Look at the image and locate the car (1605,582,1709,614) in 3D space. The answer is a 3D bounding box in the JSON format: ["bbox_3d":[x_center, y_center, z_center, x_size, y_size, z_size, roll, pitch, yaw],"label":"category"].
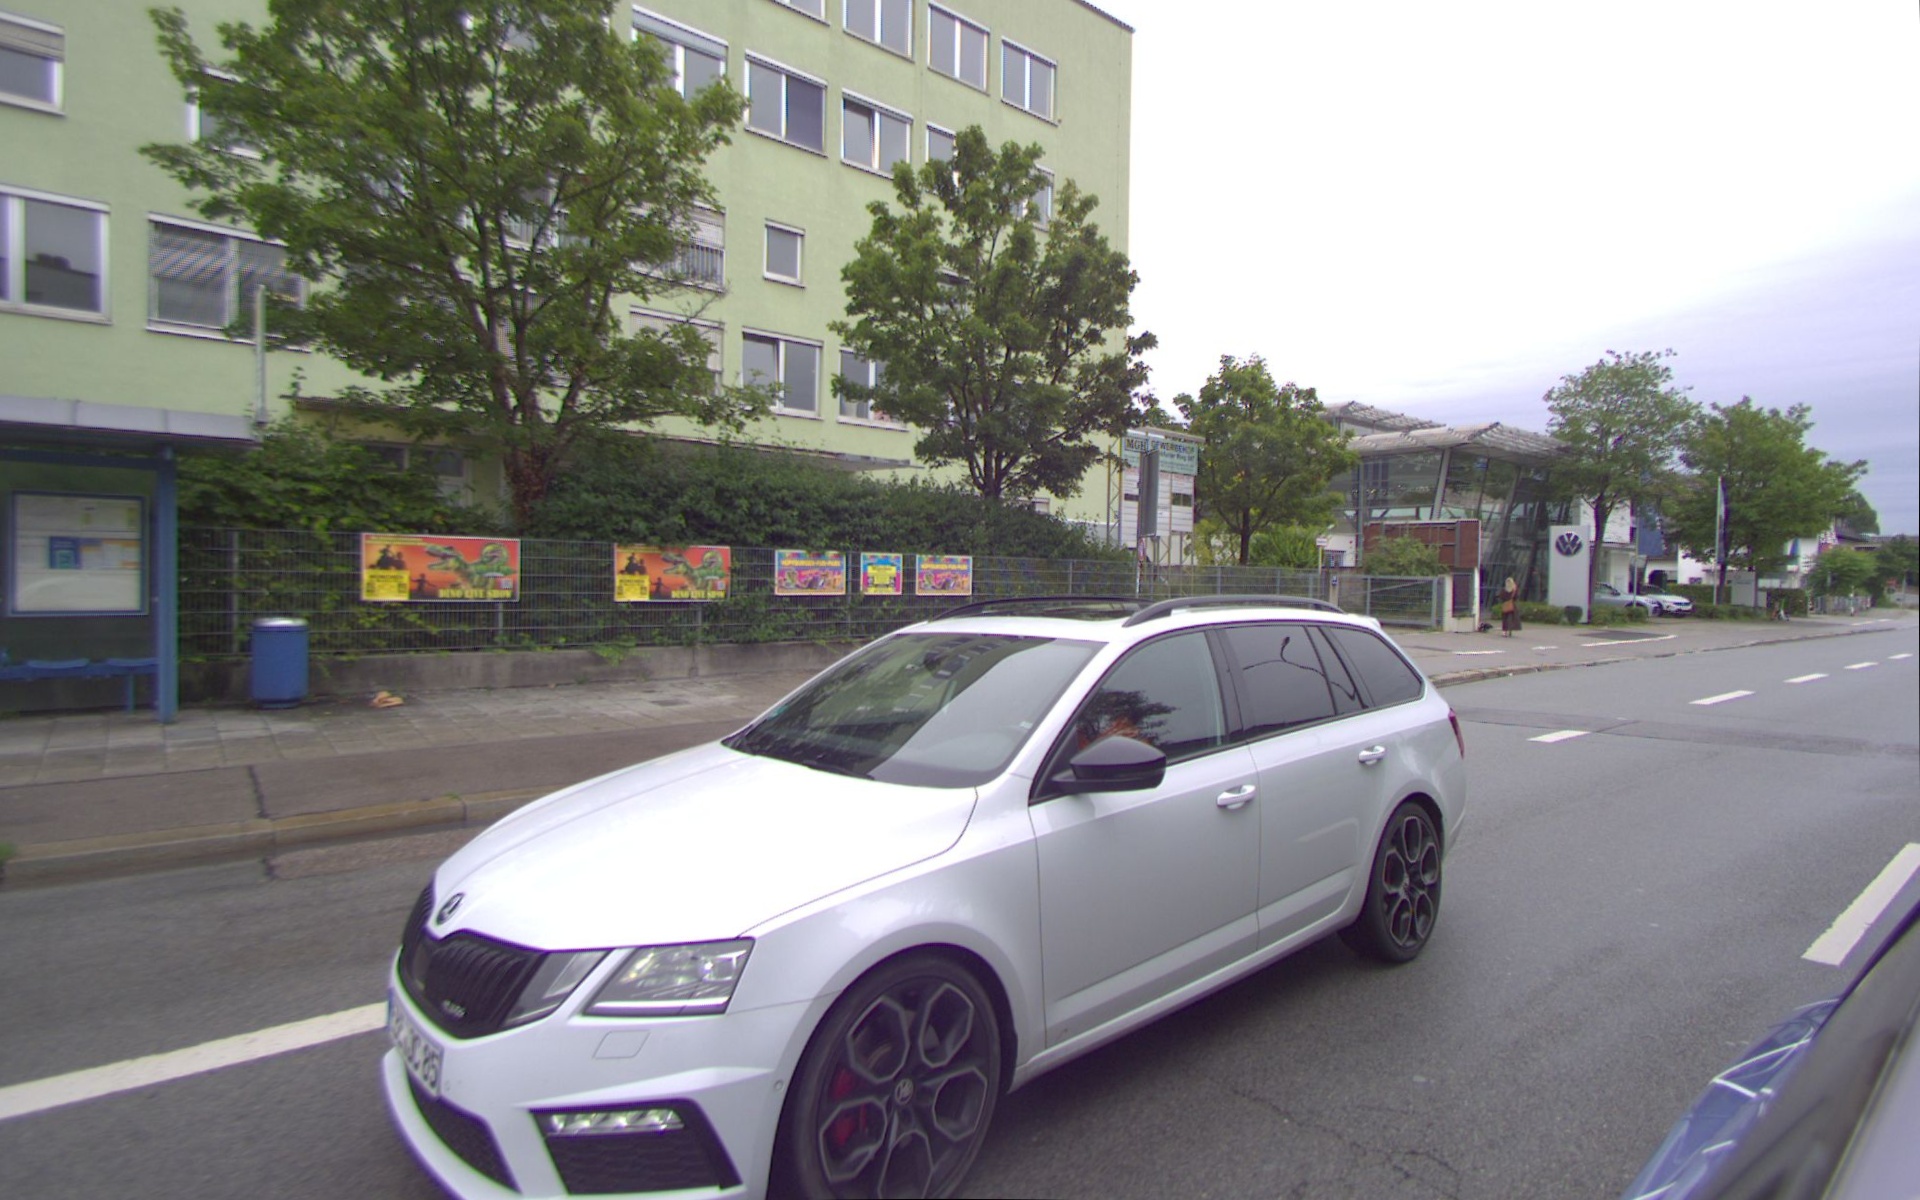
[{"bbox_3d":[34.641,-0.140,50.445,1.763,1.528,4.009,0,1,-19],"label":"car"}]

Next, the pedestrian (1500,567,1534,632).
[{"bbox_3d":[16.216,-0.025,29.454,0.676,1.844,0.682,0,0,-41],"label":"pedestrian"}]

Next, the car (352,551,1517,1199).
[{"bbox_3d":[0.341,0.630,3.968,4.424,1.486,1.881,0,1,-42],"label":"car"}]

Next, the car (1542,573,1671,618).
[{"bbox_3d":[28.361,-0.216,44.573,4.603,1.865,1.784,0,1,28],"label":"car"}]

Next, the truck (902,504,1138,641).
[{"bbox_3d":[1.419,-0.591,22.834,5.202,2.782,2.000,0,0,-35],"label":"truck"}]
